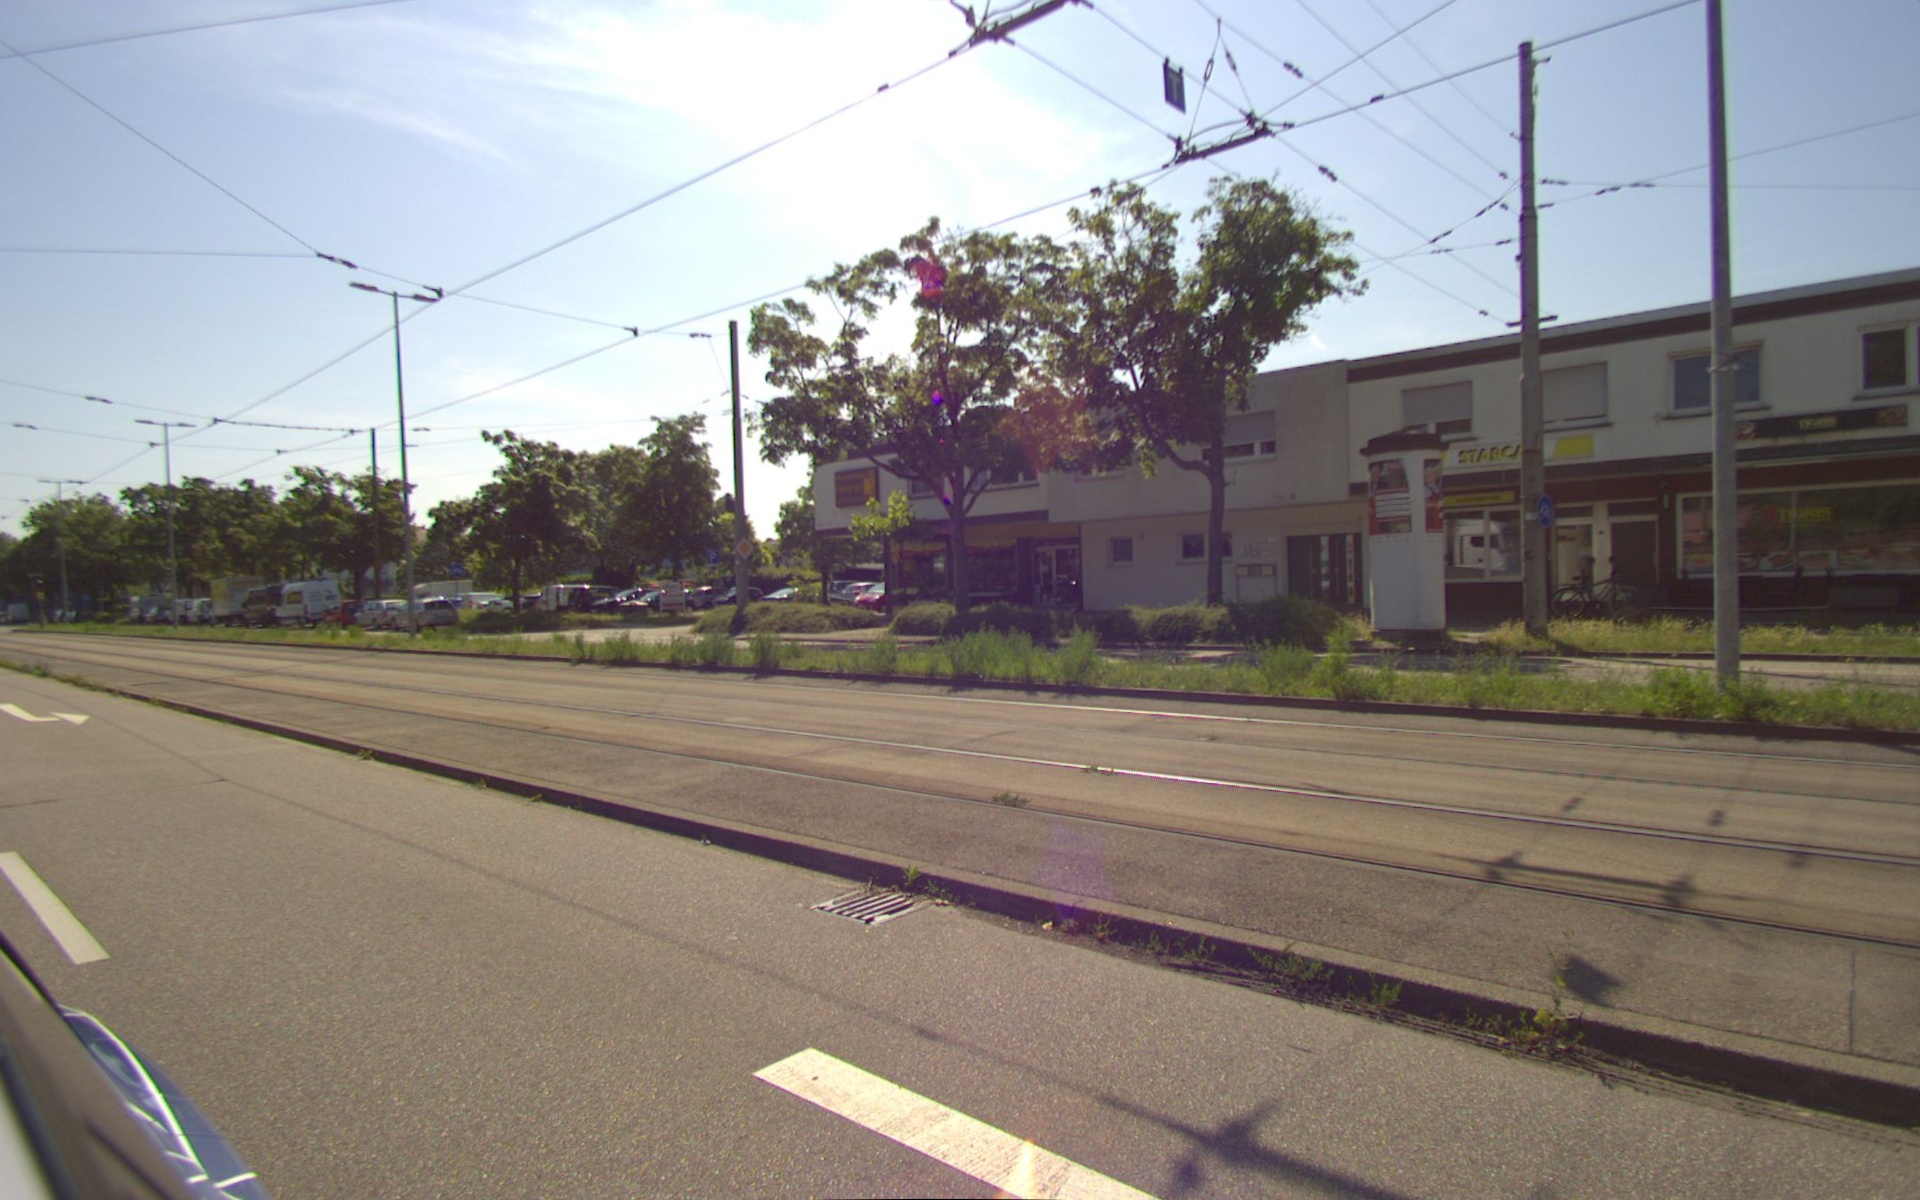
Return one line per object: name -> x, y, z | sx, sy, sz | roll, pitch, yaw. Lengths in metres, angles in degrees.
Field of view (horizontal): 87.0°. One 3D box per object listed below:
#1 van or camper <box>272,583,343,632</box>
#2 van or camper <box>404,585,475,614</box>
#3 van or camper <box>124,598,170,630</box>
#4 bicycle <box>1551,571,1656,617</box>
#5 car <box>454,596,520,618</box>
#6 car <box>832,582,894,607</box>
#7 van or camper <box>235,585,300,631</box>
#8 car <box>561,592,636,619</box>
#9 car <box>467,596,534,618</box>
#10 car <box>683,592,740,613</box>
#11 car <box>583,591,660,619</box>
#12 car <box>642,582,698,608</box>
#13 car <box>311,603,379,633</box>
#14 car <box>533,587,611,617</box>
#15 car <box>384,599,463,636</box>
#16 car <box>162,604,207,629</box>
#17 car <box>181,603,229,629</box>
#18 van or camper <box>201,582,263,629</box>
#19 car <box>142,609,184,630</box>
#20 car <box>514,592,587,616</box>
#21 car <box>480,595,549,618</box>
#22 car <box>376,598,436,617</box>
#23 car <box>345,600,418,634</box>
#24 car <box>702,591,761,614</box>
van or camper -> -37.111, 0.425, 57.523 | 4.836, 2.652, 2.014 | -1, 1, 41
van or camper -> -53.077, -0.094, 103.258 | 2.299, 2.751, 6.002 | -1, 1, 43
van or camper -> -69.474, 1.162, 86.450 | 5.450, 2.639, 2.087 | -1, 0, 41
bicycle -> 14.643, -0.131, 23.051 | 1.910, 0.990, 0.750 | -1, 1, 41
car -> -31.559, 0.458, 67.622 | 1.710, 1.291, 3.580 | -1, 1, 39
car -> -5.872, -0.360, 61.354 | 1.710, 1.372, 3.580 | -1, 1, 39
van or camper -> -42.497, 0.494, 62.074 | 4.836, 2.652, 2.014 | -1, 1, 41
car -> -20.181, 0.274, 56.574 | 1.710, 1.372, 3.580 | -1, 1, 39
car -> -29.939, 0.438, 65.947 | 1.710, 1.291, 3.580 | -1, 1, 39
car -> -17.480, 0.165, 71.227 | 1.710, 1.372, 3.580 | -1, 1, 39
car -> -18.229, 0.249, 54.635 | 1.710, 1.372, 3.580 | -1, 1, 39
car -> -21.310, -0.371, 74.413 | 1.710, 1.791, 3.580 | -1, 1, 39
car -> -33.147, 0.975, 54.522 | 4.229, 1.506, 1.869 | -1, 1, 41
car -> -22.212, 0.118, 57.997 | 1.949, 1.581, 3.703 | -1, 1, 39
car -> -25.159, 0.830, 47.403 | 4.285, 1.506, 1.868 | -1, 4, 43
car -> -59.747, 1.273, 77.935 | 4.229, 1.781, 1.869 | -1, 1, 41
car -> -54.659, 1.179, 73.216 | 4.229, 1.747, 1.869 | -1, 1, 41
van or camper -> -48.437, 0.393, 67.273 | 5.278, 3.007, 2.101 | -1, 1, 41
car -> -64.389, 1.553, 81.727 | 4.229, 1.572, 1.869 | -1, 1, 41
car -> -24.023, 0.227, 59.452 | 1.710, 1.294, 3.580 | -1, 1, 39
car -> -28.042, 0.413, 63.763 | 1.811, 1.291, 3.580 | -1, 1, 39
car -> -42.218, 0.594, 77.173 | 1.710, 1.291, 3.580 | -1, 1, 39
car -> -29.233, 0.859, 51.087 | 4.282, 1.572, 1.869 | -1, 1, 41
car -> -15.642, 0.163, 69.388 | 1.710, 1.372, 3.580 | -1, 1, 39
